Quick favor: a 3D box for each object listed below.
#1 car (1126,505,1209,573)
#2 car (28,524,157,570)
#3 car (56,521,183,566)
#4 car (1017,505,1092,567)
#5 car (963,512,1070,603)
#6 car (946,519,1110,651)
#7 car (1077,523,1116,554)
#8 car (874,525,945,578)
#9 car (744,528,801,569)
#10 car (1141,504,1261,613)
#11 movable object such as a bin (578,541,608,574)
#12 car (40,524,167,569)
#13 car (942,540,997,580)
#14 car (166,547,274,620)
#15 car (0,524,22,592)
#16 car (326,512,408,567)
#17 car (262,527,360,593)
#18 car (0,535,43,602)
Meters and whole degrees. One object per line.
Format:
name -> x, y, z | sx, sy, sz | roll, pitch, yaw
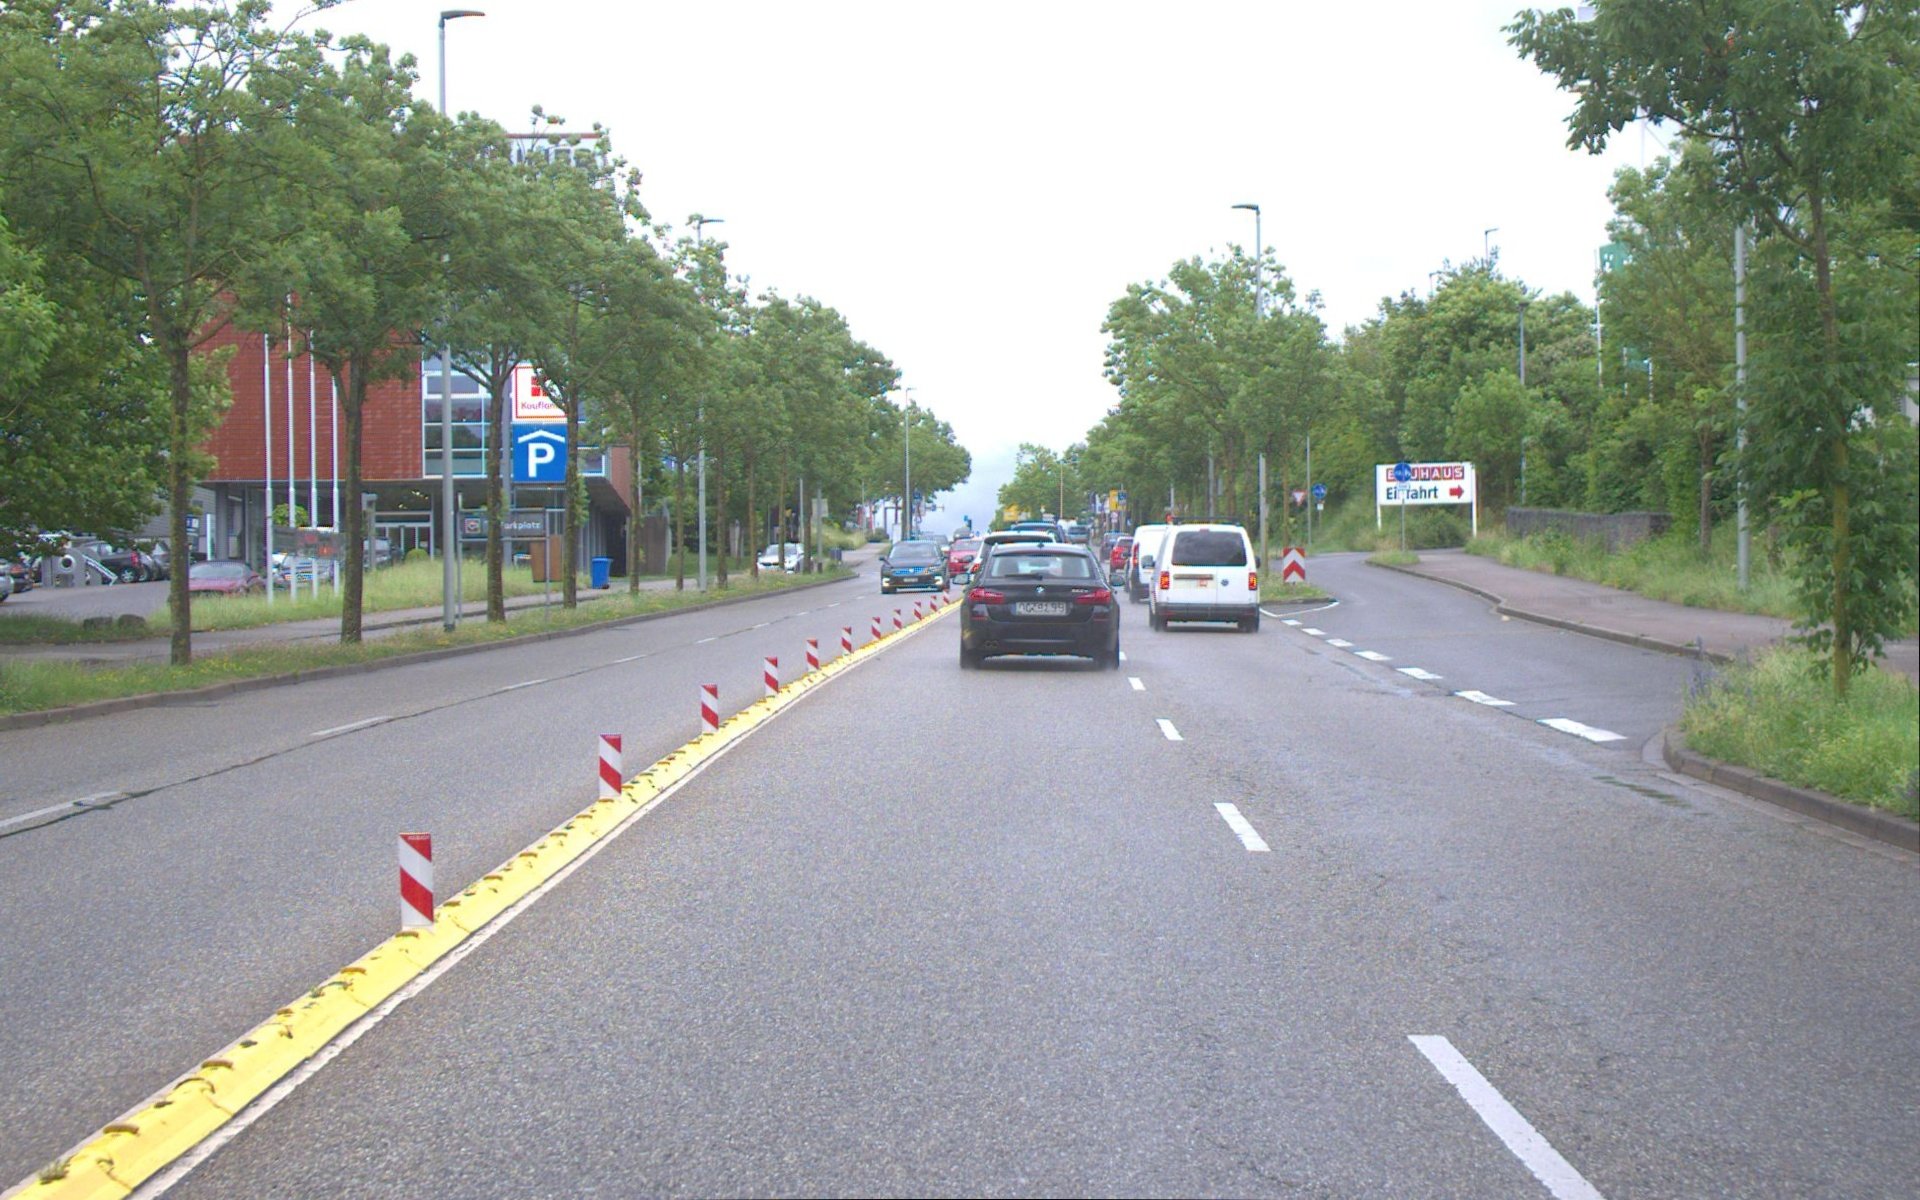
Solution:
car -> 4.846, -1.421, 80.774 | 1.794, 1.505, 4.000 | 1, 1, 2
car -> -29.828, -1.817, 118.281 | 4.108, 1.505, 1.820 | 0, 3, -6
car -> -29.956, -2.013, 122.567 | 4.190, 1.505, 1.820 | 0, 3, -6
car -> 2.373, -1.609, 87.136 | 1.794, 1.505, 4.000 | 1, 1, 1
car -> 0.989, -0.743, 60.355 | 1.794, 1.505, 4.000 | 1, 1, 1
car -> 0.818, -0.217, 40.832 | 1.827, 1.463, 4.000 | 1, 1, 1
car -> 6.769, -3.051, 170.835 | 1.794, 1.505, 4.000 | 1, 1, 0
car -> -1.435, -1.407, 98.909 | 1.827, 1.461, 4.616 | -1, 1, 2
car -> -7.664, -2.107, 140.773 | 1.867, 1.547, 4.575 | -3, 1, 2
car -> 4.059, -0.731, 58.414 | 1.827, 1.753, 4.000 | 1, 1, 1
movable object such as a bin -> -12.799, -1.476, 119.849 | 0.819, 1.075, 1.086 | 5, 2, 2
car -> -30.007, -1.871, 120.514 | 4.108, 1.505, 1.820 | 0, 3, -6
car -> 0.365, -1.499, 128.632 | 1.762, 1.420, 4.180 | -1, 1, 4
car -> -18.462, -0.432, 85.925 | 1.932, 1.603, 4.712 | 0, 3, -3
car -> -27.312, -1.128, 90.902 | 4.598, 1.740, 1.968 | 0, 3, -6
car -> -20.850, -2.140, 121.008 | 2.138, 1.767, 4.609 | 1, 3, 0
car -> -18.912, -1.191, 100.387 | 2.039, 1.756, 4.946 | 1, 3, -1
car -> -27.392, -0.869, 93.509 | 4.498, 1.740, 1.901 | 0, 3, -6
